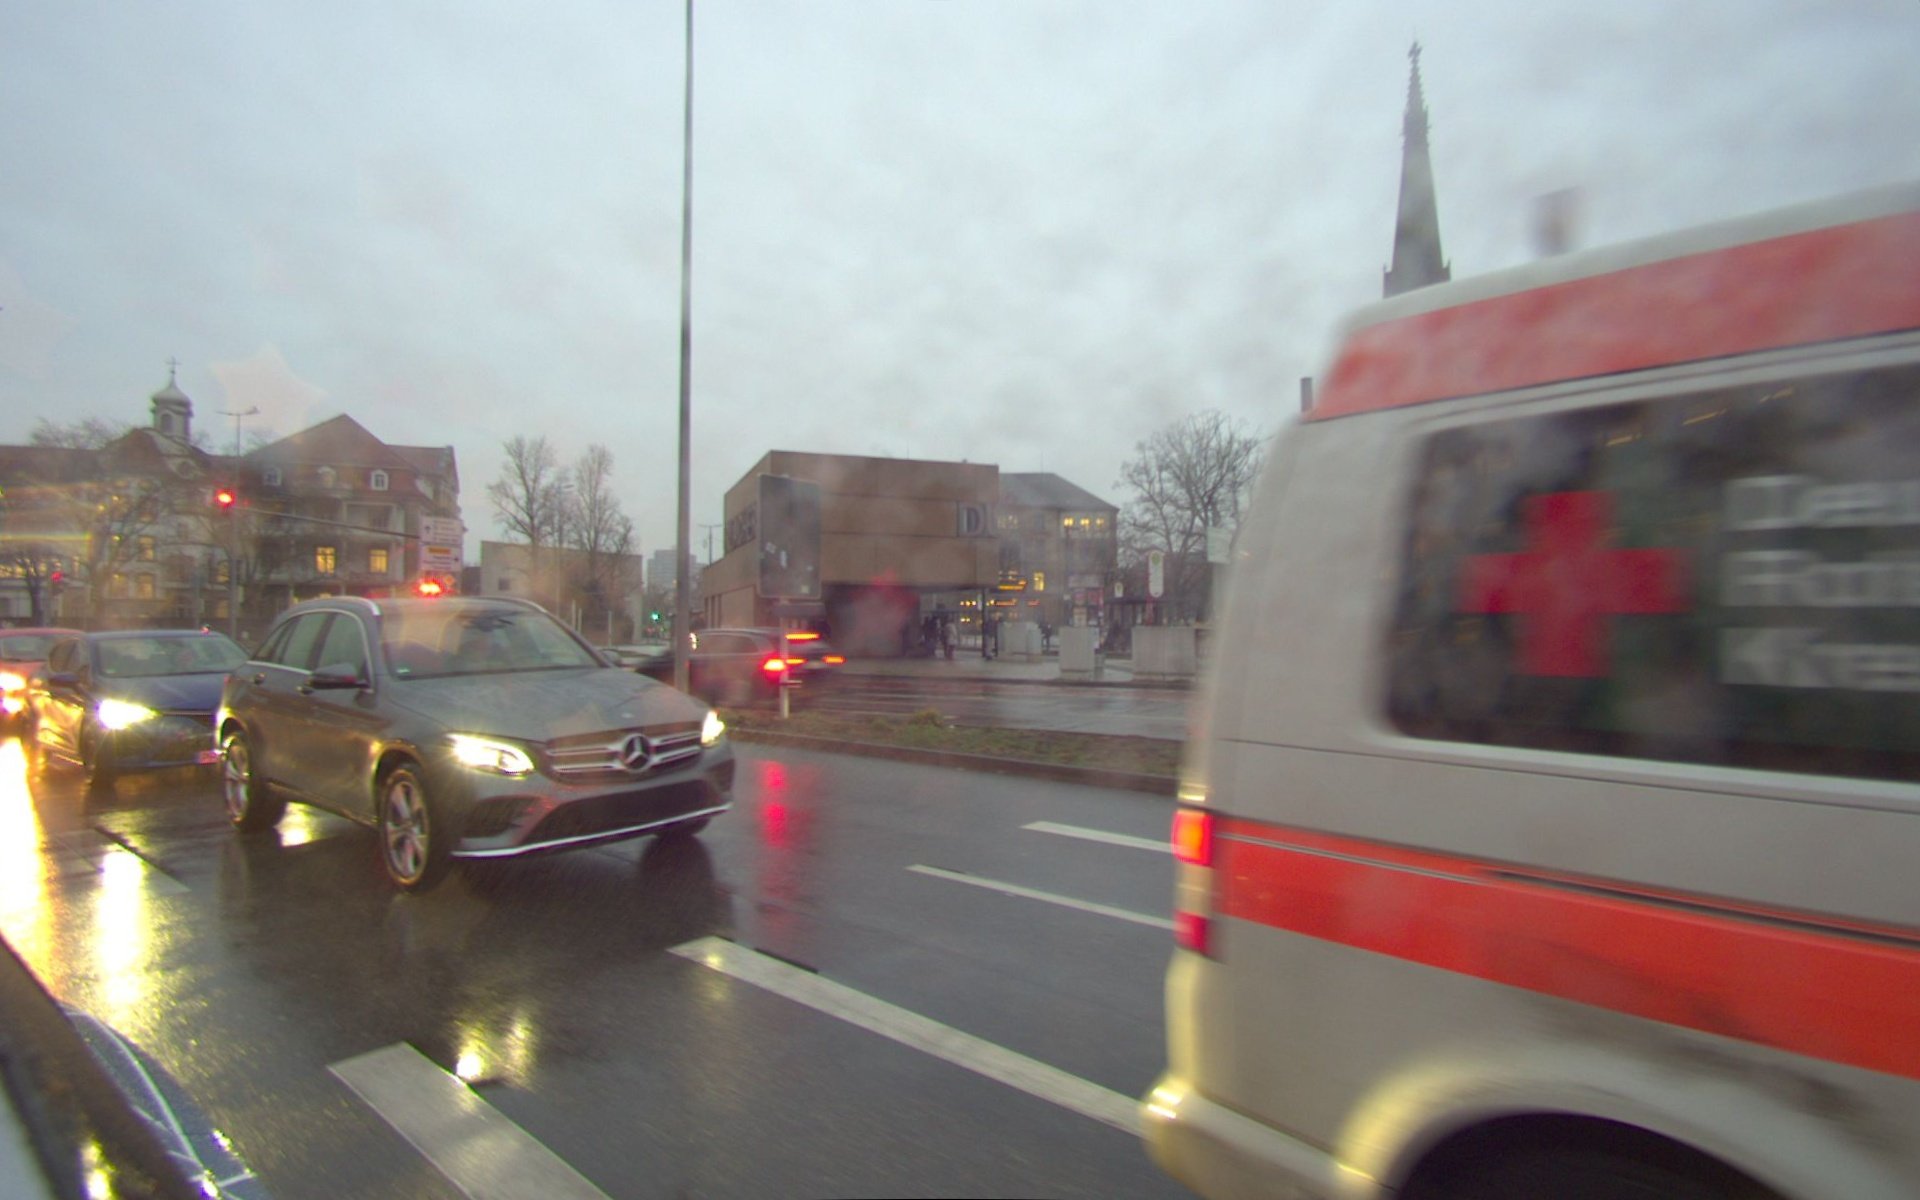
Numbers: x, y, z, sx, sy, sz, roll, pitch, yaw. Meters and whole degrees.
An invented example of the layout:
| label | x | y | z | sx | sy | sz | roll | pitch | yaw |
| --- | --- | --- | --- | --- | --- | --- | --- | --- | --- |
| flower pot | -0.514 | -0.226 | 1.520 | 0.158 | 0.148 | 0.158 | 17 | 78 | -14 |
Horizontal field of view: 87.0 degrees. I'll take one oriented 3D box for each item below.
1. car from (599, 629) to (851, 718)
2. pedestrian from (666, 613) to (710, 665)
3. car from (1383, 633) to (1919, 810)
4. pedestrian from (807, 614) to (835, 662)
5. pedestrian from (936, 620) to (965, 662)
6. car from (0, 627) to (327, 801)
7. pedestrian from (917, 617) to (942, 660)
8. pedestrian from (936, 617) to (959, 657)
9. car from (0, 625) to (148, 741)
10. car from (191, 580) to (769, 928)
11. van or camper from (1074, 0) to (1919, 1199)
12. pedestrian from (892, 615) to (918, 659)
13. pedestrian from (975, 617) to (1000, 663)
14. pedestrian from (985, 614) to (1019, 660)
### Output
| label | x | y | z | sx | sy | sz | roll | pitch | yaw |
| --- | --- | --- | --- | --- | --- | --- | --- | --- | --- |
| car | -4.407 | 1.262 | 18.649 | 4.811 | 1.430 | 1.790 | -1 | -1 | 35 |
| pedestrian | -10.147 | 1.450 | 37.765 | 1.232 | 1.872 | 1.023 | -4 | -4 | 36 |
| car | 6.867 | 1.074 | 10.298 | 4.443 | 1.383 | 1.657 | -1 | 0 | 38 |
| pedestrian | -5.259 | 1.435 | 38.409 | 0.828 | 1.781 | 0.657 | -1 | -3 | 23 |
| pedestrian | -0.367 | 1.626 | 39.734 | 0.841 | 1.615 | 0.968 | 1 | -3 | -21 |
| car | -8.299 | 1.013 | 10.404 | 4.112 | 1.414 | 1.644 | -1 | 0 | 37 |
| pedestrian | -1.249 | 1.575 | 41.729 | 0.740 | 1.739 | 0.735 | -1 | -3 | 28 |
| pedestrian | -0.538 | 1.618 | 44.103 | 0.741 | 1.739 | 0.735 | -1 | -3 | 31 |
| car | -14.099 | 1.179 | 15.369 | 3.862 | 1.493 | 1.687 | -2 | 0 | 34 |
| car | -3.465 | 0.745 | 6.845 | 4.537 | 1.613 | 1.767 | -1 | 0 | 40 |
| van or camper | 2.799 | 0.280 | 1.129 | 4.987 | 2.125 | 2.178 | -2 | -1 | 43 |
| pedestrian | -2.234 | 1.504 | 40.876 | 0.731 | 1.739 | 0.745 | 2 | -3 | -42 |
| pedestrian | 1.067 | 1.552 | 39.466 | 0.757 | 1.764 | 0.795 | -1 | -3 | 22 |
| pedestrian | 1.782 | 1.592 | 43.114 | 1.104 | 1.933 | 1.066 | 1 | -3 | -18 |
